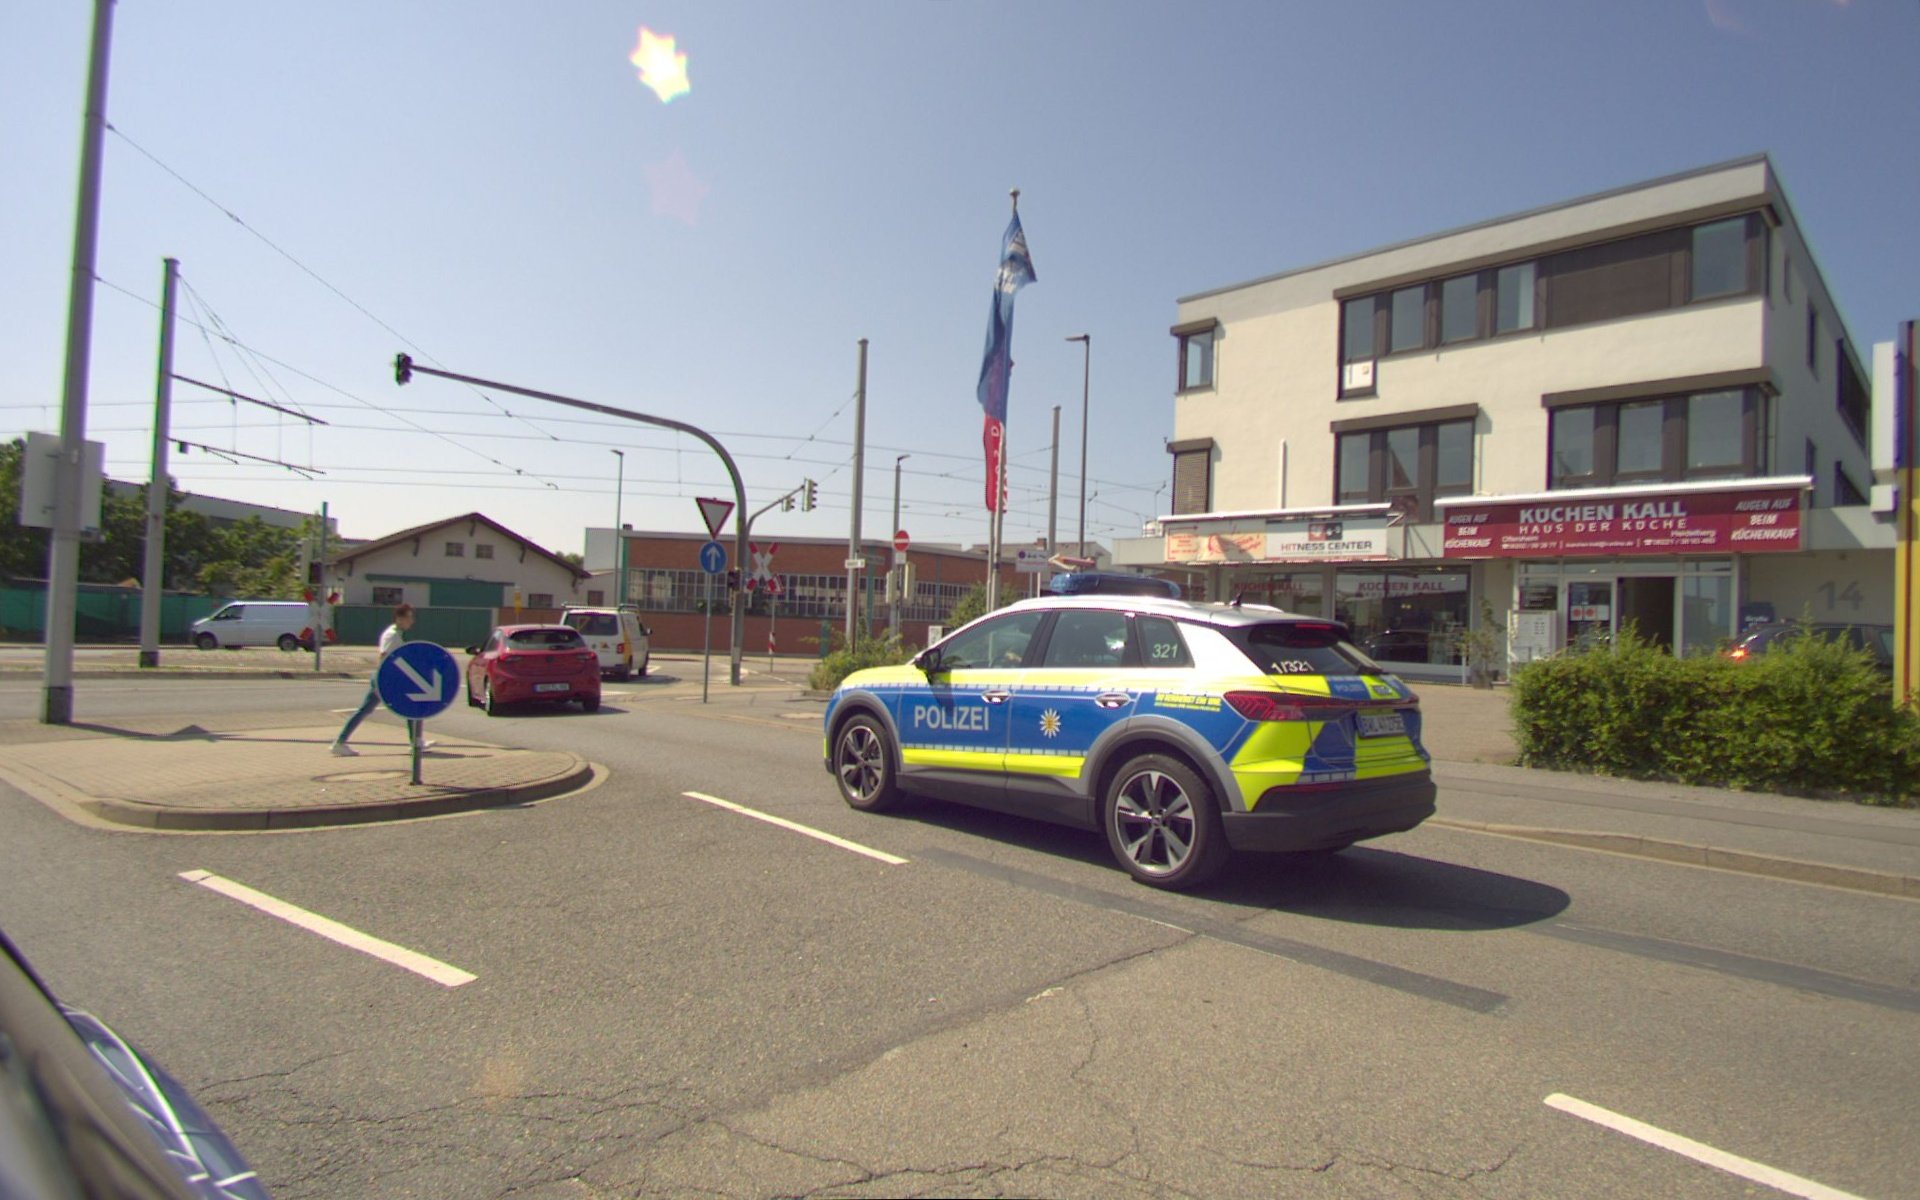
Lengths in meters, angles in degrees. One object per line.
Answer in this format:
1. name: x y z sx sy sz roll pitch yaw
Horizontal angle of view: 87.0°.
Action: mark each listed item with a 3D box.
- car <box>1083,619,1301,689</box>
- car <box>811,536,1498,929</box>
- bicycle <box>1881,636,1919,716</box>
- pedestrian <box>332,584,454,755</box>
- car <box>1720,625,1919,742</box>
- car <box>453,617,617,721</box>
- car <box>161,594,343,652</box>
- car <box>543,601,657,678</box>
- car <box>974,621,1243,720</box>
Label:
1. car: 5.083 1.171 22.648 1.884 1.399 4.490 4 -3 -42
2. car: 0.975 0.676 6.861 1.869 1.772 4.360 4 -3 -40
3. bicycle: 16.781 1.270 16.669 2.451 1.291 0.700 1 -2 4
4. pedestrian: -5.963 0.719 10.643 0.981 1.698 0.801 3 -3 -35
5. car: 12.634 1.072 12.932 1.884 1.432 4.423 4 -4 -42
6. car: -7.320 1.064 17.193 1.739 1.465 4.119 0 0 -35
7. car: -27.628 0.894 39.640 5.448 2.149 2.215 1 -1 -5
8. car: -10.045 1.125 28.622 1.967 1.962 4.442 2 -3 -5
9. car: 2.614 1.219 18.763 1.884 1.585 4.823 4 -3 -42
